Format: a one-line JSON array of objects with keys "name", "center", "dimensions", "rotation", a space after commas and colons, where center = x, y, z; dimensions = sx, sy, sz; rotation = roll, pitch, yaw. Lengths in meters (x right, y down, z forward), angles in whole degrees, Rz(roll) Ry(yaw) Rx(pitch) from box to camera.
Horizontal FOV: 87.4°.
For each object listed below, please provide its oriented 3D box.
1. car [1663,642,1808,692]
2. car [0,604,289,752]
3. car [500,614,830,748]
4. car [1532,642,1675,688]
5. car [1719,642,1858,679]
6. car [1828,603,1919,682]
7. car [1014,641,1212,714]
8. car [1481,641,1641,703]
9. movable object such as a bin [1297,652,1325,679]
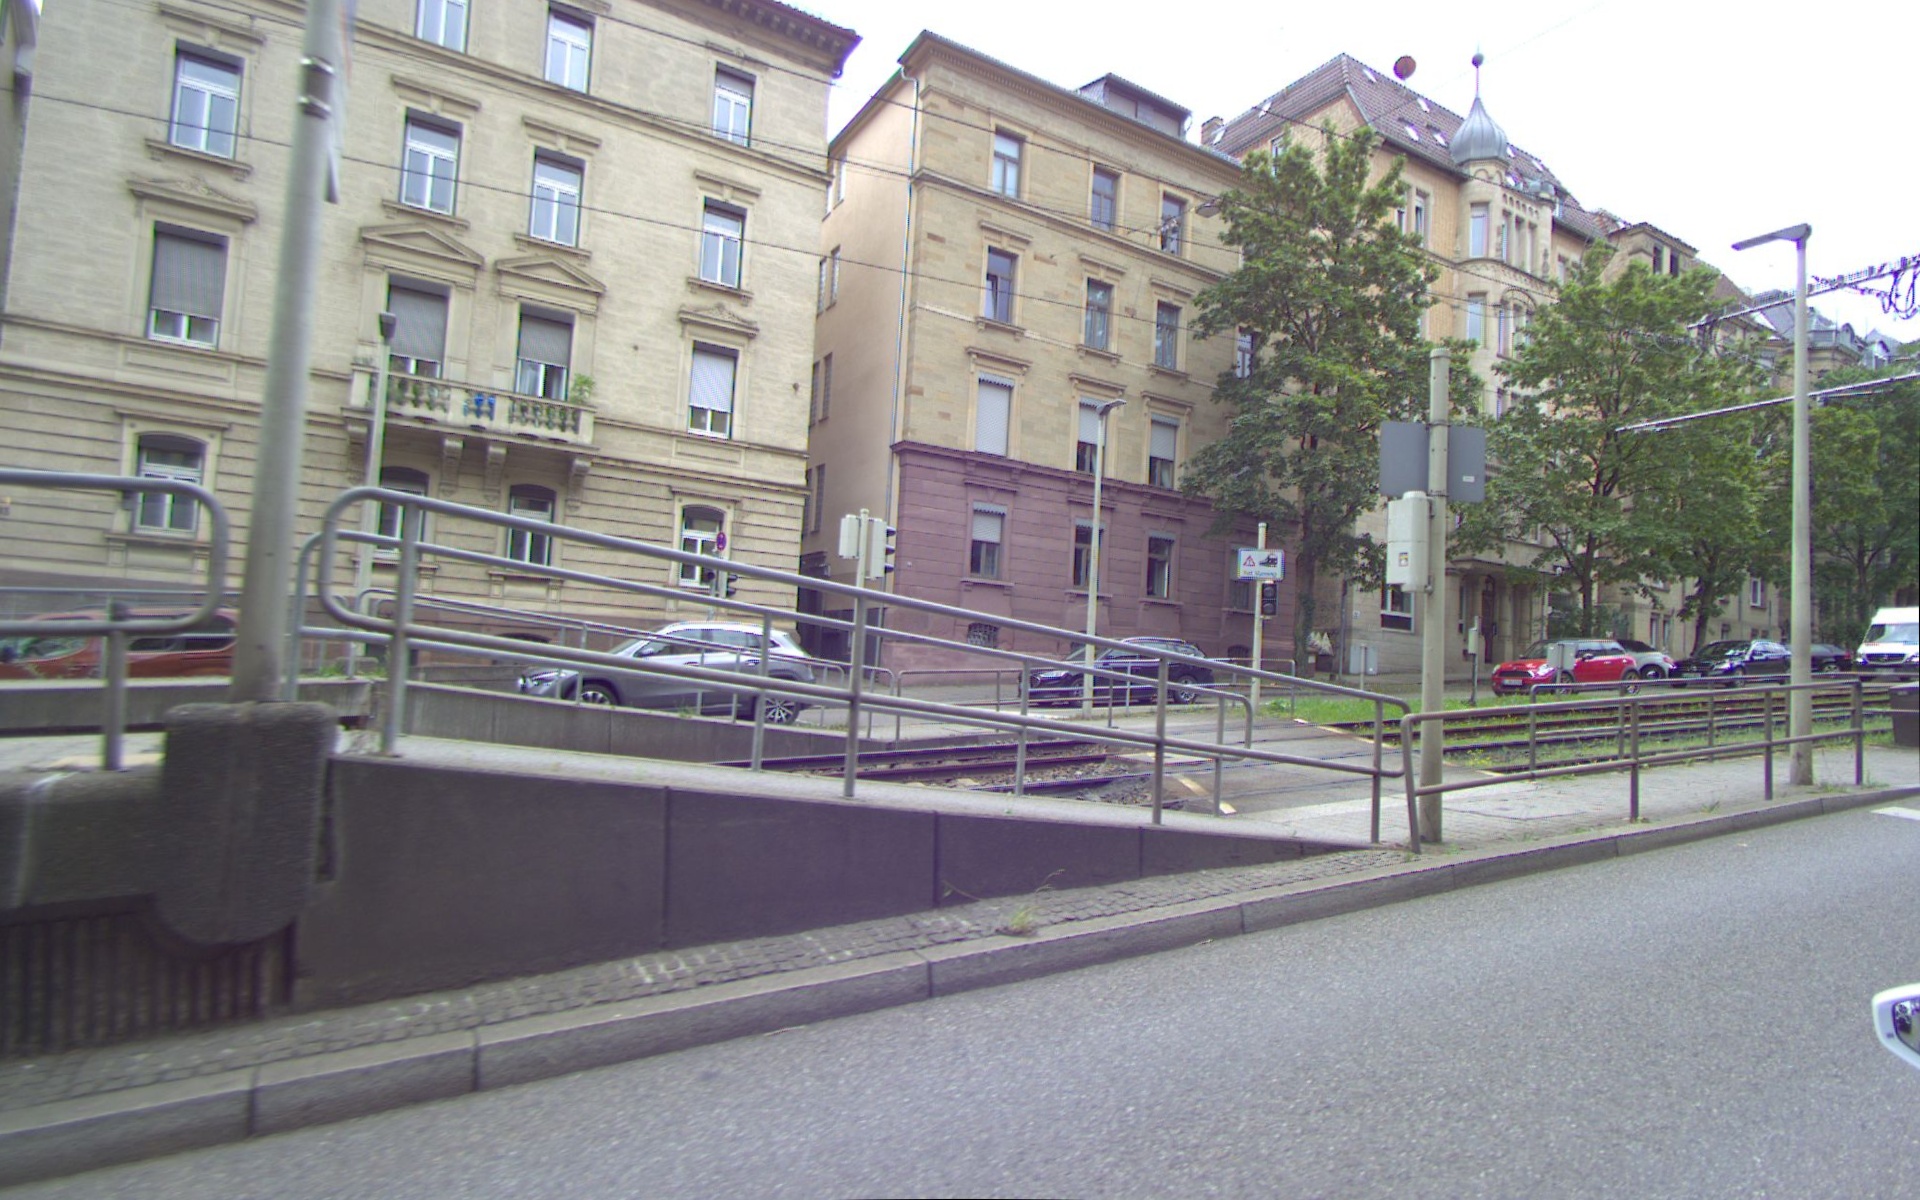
[{"name": "car", "center": [23.708, 2.006, 30.675], "dimensions": [4.689, 1.447, 1.742], "rotation": [1, -3, -28]}, {"name": "car", "center": [-11.950, 1.037, 14.054], "dimensions": [4.090, 1.884, 1.840], "rotation": [1, -2, -30]}, {"name": "car", "center": [-4.387, 1.144, 15.168], "dimensions": [4.522, 1.758, 1.702], "rotation": [1, -2, -30]}, {"name": "car", "center": [21.549, 2.145, 33.832], "dimensions": [3.928, 1.441, 1.783], "rotation": [-1, -2, 29]}, {"name": "car", "center": [33.475, 2.416, 40.733], "dimensions": [4.110, 1.382, 1.709], "rotation": [-1, -2, 31]}, {"name": "car", "center": [35.063, 1.602, 37.126], "dimensions": [6.439, 2.734, 2.383], "rotation": [2, -4, -29]}, {"name": "car", "center": [3.375, 1.637, 21.996], "dimensions": [4.167, 1.466, 1.671], "rotation": [1, -3, -29]}, {"name": "car", "center": [14.432, 1.683, 24.120], "dimensions": [3.605, 1.395, 1.572], "rotation": [1, -2, -25]}, {"name": "movable object such as a bin", "center": [11.268, 2.097, 32.244], "dimensions": [0.621, 0.847, 0.580], "rotation": [1, -2, -30]}]
